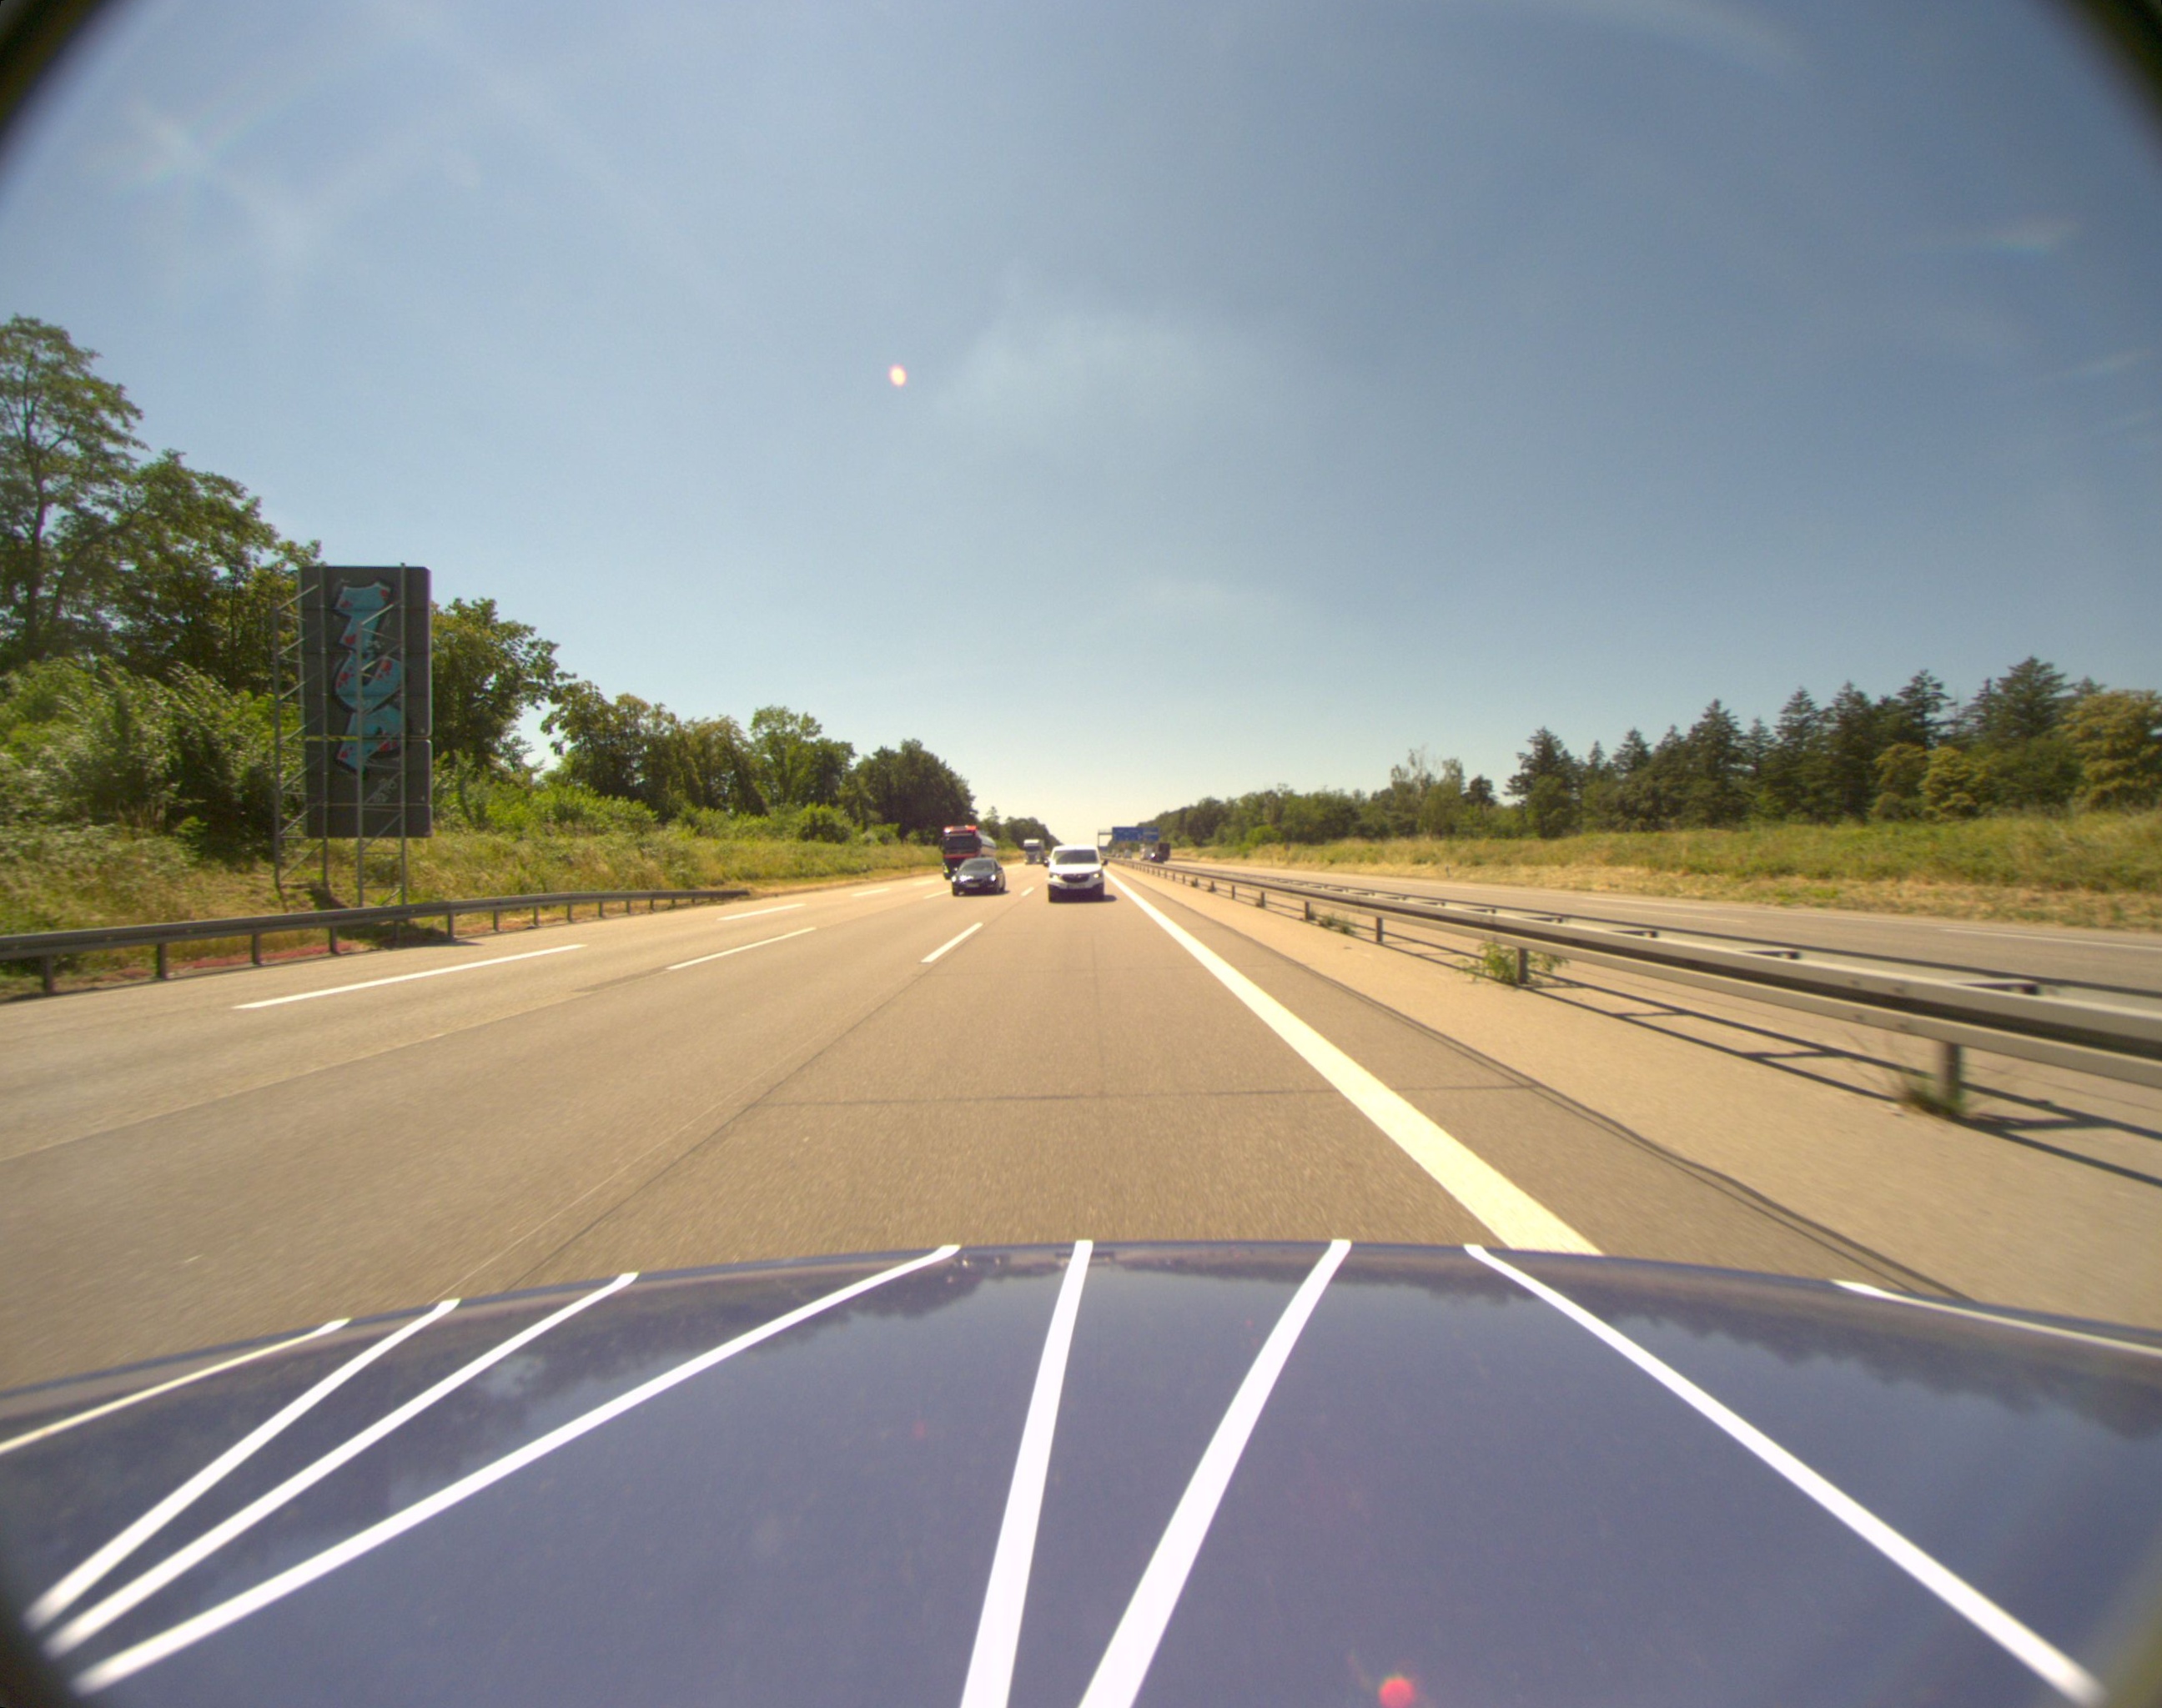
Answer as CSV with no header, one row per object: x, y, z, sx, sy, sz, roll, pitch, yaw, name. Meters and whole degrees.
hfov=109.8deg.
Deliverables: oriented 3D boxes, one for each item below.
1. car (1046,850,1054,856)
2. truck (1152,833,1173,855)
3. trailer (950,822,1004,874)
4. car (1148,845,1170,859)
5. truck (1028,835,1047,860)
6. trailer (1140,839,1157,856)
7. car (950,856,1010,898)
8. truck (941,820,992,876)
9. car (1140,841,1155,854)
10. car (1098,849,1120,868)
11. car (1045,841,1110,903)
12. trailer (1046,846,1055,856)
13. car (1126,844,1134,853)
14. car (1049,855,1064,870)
-7.347,-0.232,179.966,1.846,1.275,3.352,-2,0,0,car
18.112,-2.225,168.999,3.385,4.598,12.185,1,1,1,truck
-8.113,-0.478,61.010,2.535,3.712,11.547,-2,0,0,trailer
10.723,-0.301,104.665,2.370,1.884,5.224,1,0,0,car
-7.031,-1.069,124.485,2.603,3.980,6.173,-2,1,0,truck
18.044,-1.724,203.927,3.163,4.174,14.124,1,0,0,trailer
-4.025,0.890,30.857,1.806,1.475,4.271,-2,0,0,car
-8.179,-0.439,54.894,2.535,3.712,6.098,-2,1,0,truck
13.832,-1.339,157.739,2.370,2.434,7.132,1,0,0,car
2.164,0.368,60.341,1.581,1.412,3.352,-2,0,0,car
-0.005,0.531,25.611,1.870,1.807,4.941,-2,0,3,car
-7.361,-0.766,183.258,1.849,2.196,3.197,-2,1,0,trailer
14.463,-1.557,226.343,1.998,2.555,6.389,1,0,1,car
-3.507,1.230,110.641,1.998,2.002,4.000,-2,0,0,car
